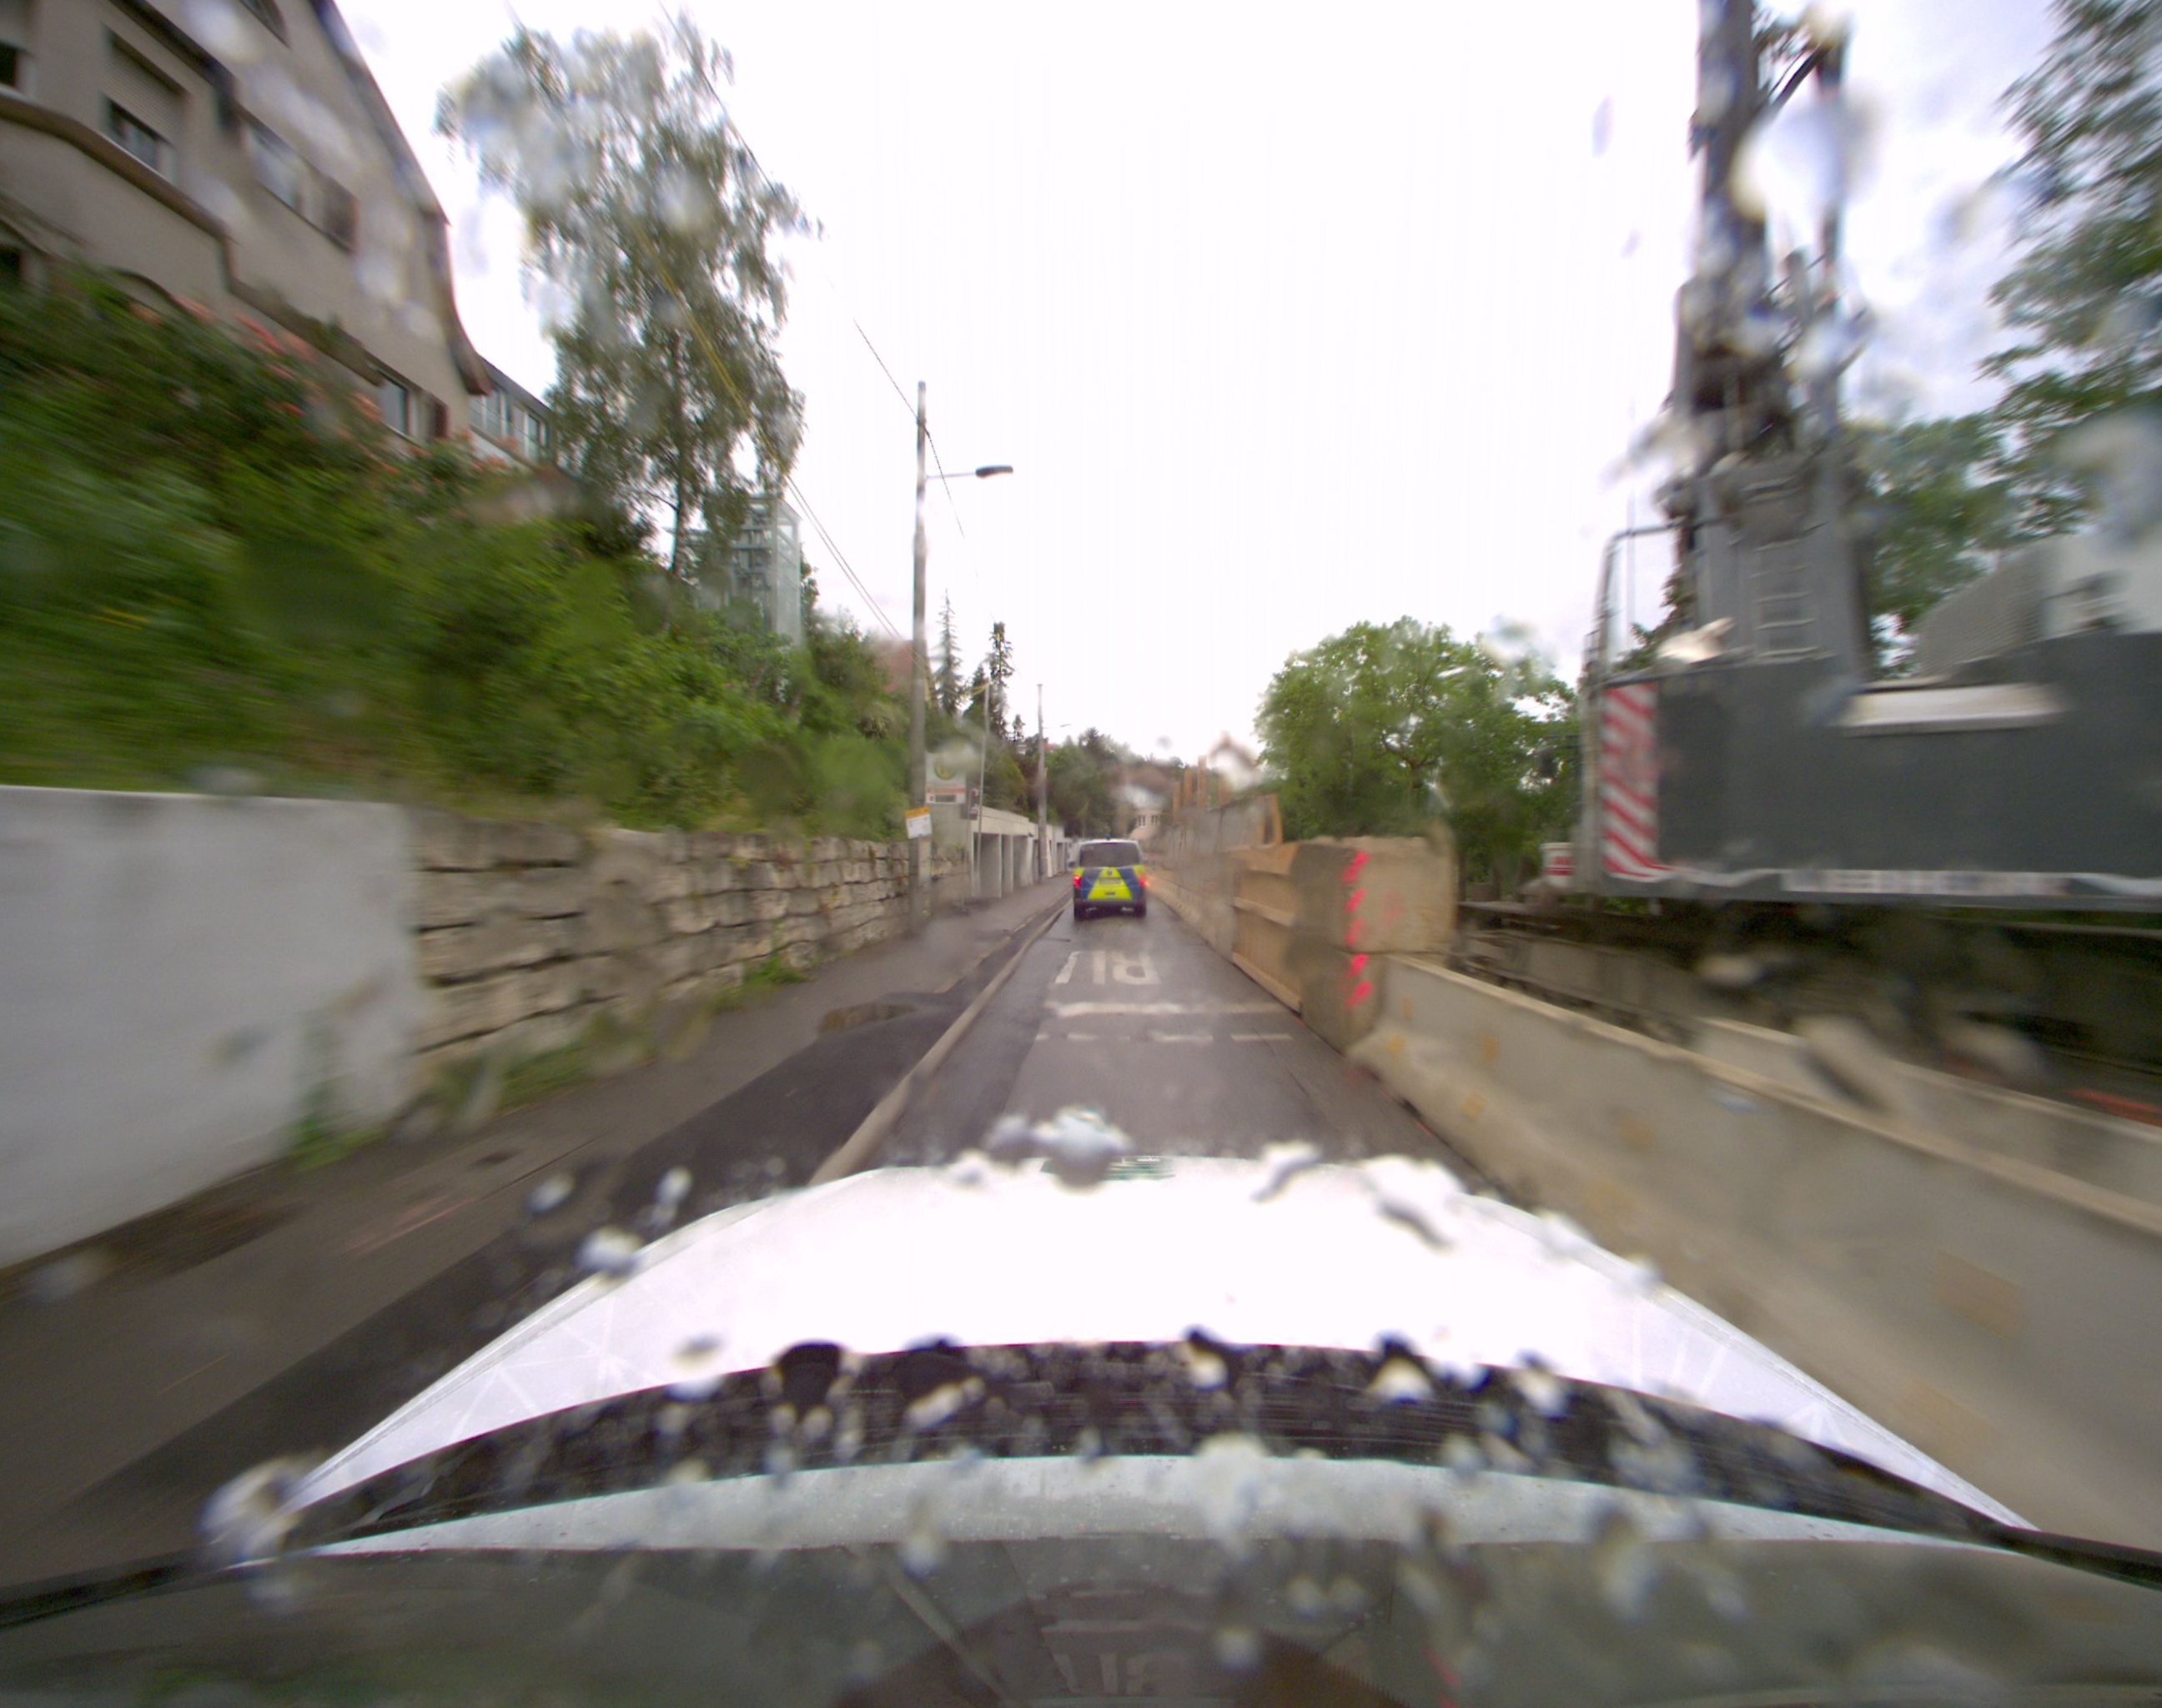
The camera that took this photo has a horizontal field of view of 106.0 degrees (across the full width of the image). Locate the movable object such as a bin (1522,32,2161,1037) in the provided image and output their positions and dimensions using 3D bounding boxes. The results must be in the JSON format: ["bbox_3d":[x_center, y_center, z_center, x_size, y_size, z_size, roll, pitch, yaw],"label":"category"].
[{"bbox_3d":[6.360,-1.569,7.695,3.647,5.066,7.206,-1,-1,30],"label":"movable object such as a bin"}]

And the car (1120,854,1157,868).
[{"bbox_3d":[6.759,0.851,95.372,3.949,1.517,1.738,1,-1,32],"label":"car"}]

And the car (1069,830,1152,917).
[{"bbox_3d":[0.765,0.489,21.497,1.901,2.010,4.441,2,-1,2],"label":"car"}]
